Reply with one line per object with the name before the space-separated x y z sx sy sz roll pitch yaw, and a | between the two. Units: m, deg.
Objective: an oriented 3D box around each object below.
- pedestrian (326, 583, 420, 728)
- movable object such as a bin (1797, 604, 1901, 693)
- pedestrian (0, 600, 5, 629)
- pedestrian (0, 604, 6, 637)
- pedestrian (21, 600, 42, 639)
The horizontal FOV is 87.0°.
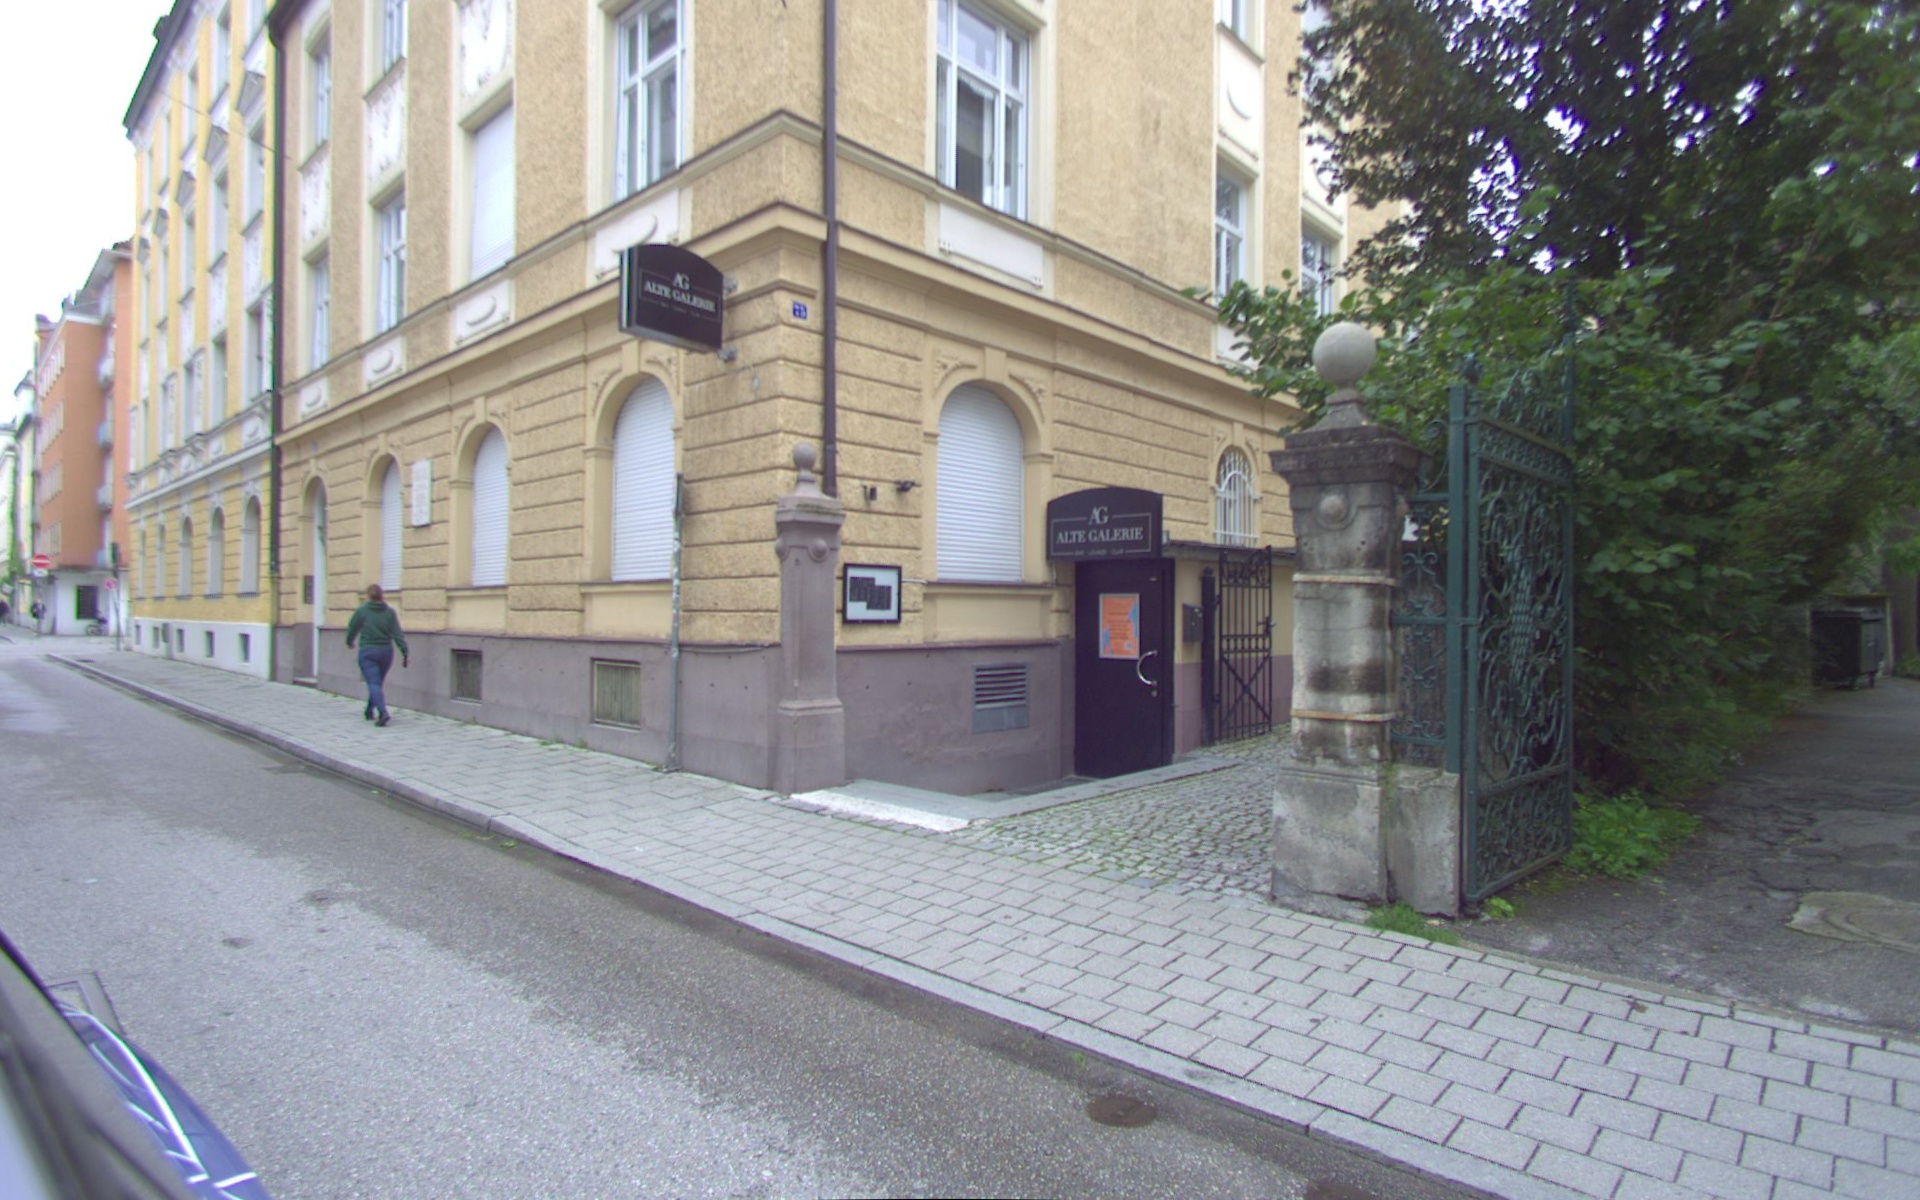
pedestrian | -7.155 0.644 12.336 0.930 1.678 0.705 -1 1 43
movable object such as a bin | 14.732 0.778 16.774 1.208 1.414 1.109 1 -1 -39
pedestrian | -59.021 0.886 61.993 0.764 1.807 0.690 -1 -2 44
pedestrian | -59.263 1.255 62.322 0.788 2.029 0.626 -1 -3 44
pedestrian | -40.485 0.856 44.124 0.566 1.707 0.604 -1 -2 43
